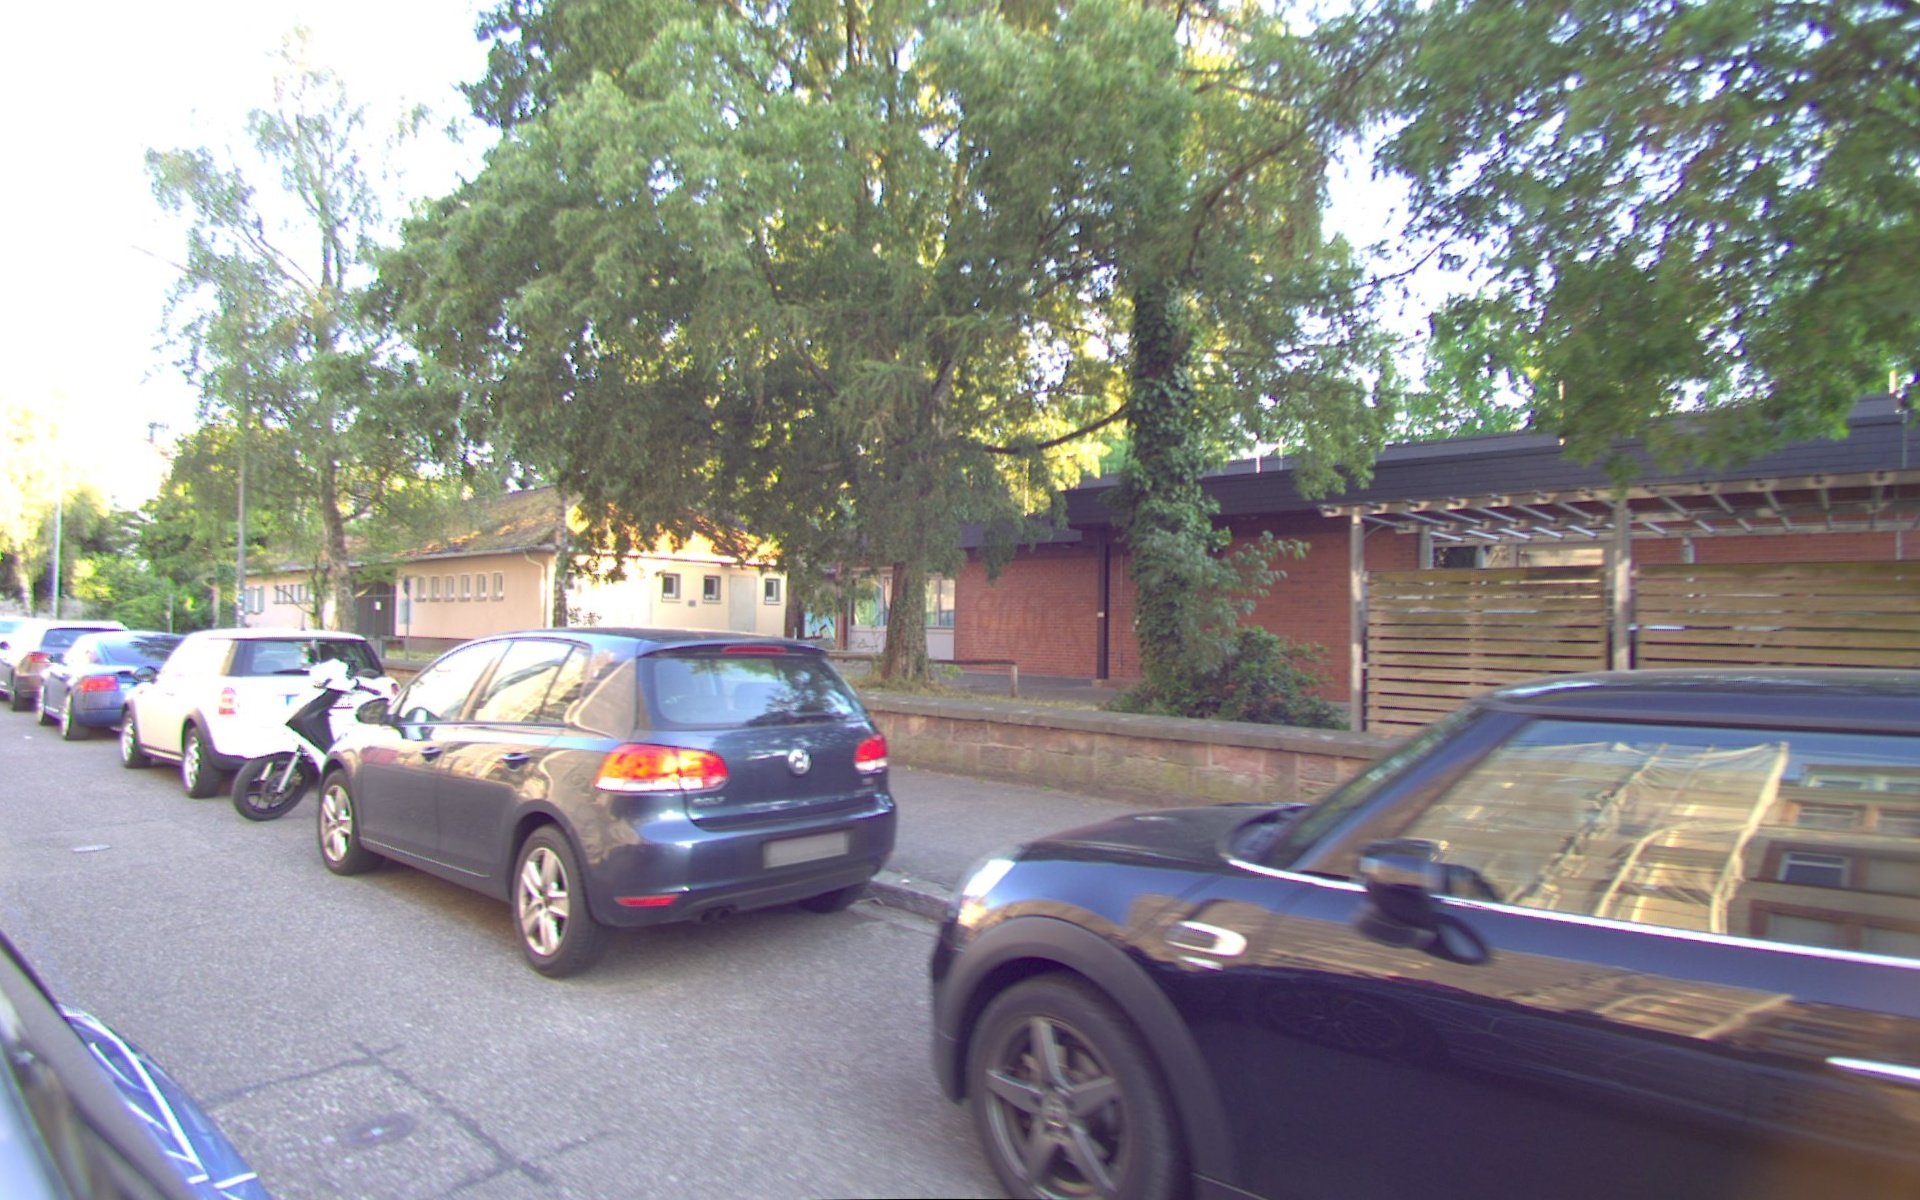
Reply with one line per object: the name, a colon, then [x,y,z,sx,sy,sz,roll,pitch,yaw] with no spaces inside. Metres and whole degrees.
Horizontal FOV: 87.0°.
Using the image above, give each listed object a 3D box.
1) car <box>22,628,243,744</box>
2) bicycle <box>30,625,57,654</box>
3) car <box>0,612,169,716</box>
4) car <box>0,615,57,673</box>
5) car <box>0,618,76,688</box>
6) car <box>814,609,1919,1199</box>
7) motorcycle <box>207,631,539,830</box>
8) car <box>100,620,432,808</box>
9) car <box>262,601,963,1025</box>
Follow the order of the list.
car: [-11.311,1.072,13.735,4.153,1.323,1.641,-1,-3,42]
bicycle: [-36.517,1.556,40.310,1.953,1.126,0.538,-1,-1,40]
car: [-15.303,1.014,17.307,4.755,1.549,1.840,-1,-3,41]
car: [-25.587,1.133,26.698,3.995,1.464,1.974,-1,-2,38]
car: [-21.544,1.140,22.762,4.745,1.457,1.764,-1,-4,41]
car: [1.600,0.803,2.254,3.992,1.489,1.619,-1,-4,42]
motorcycle: [-4.516,0.920,7.889,2.135,1.313,0.882,0,-1,-35]
car: [-6.747,0.961,9.707,3.800,1.442,1.585,-1,-5,40]
car: [-2.203,0.824,5.694,4.357,1.507,1.698,-1,-3,40]
